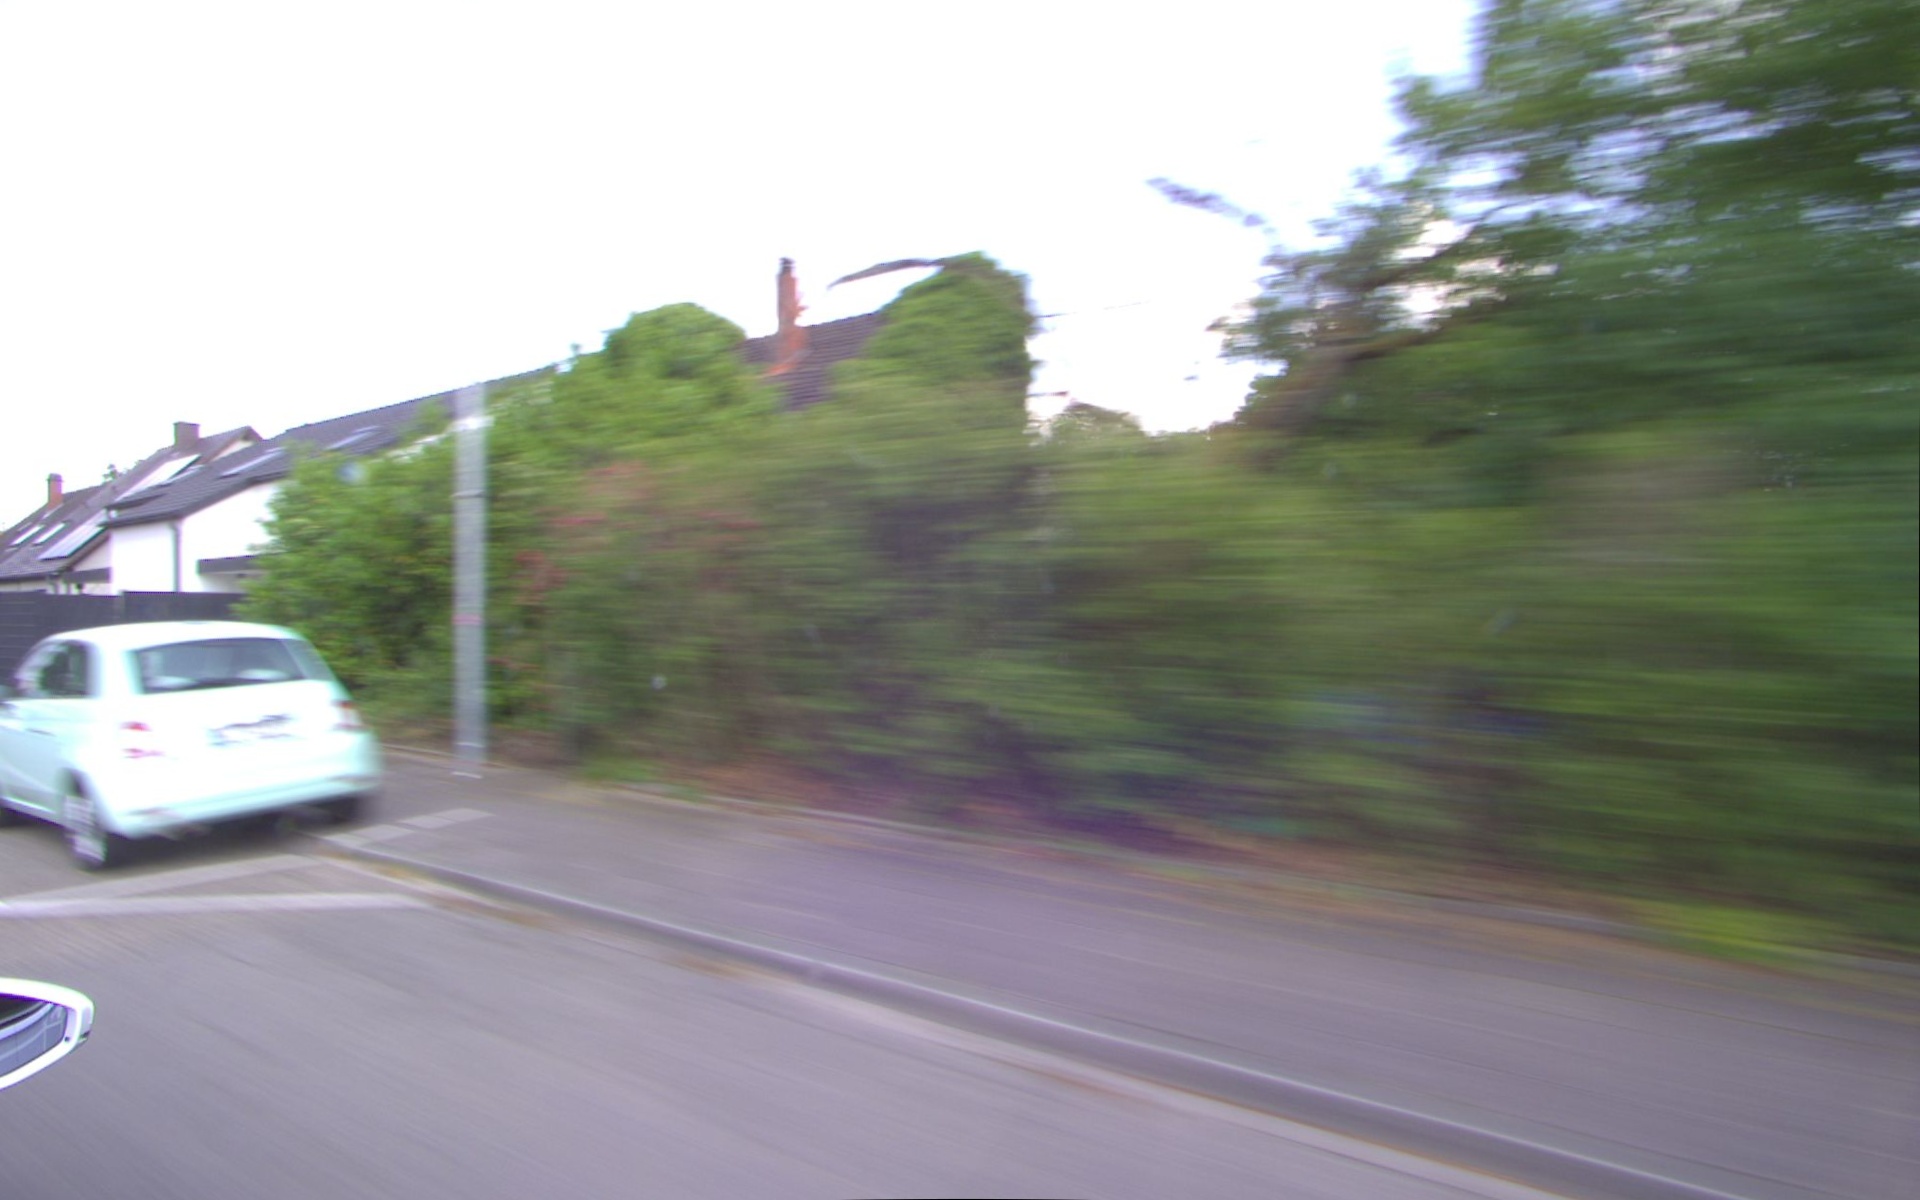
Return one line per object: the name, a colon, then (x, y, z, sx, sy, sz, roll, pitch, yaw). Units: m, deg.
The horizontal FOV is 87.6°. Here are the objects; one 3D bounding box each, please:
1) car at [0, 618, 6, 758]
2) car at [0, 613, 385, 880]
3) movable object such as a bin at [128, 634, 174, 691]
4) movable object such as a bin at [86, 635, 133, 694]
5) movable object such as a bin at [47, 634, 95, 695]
car: (-12.244, 0.947, 11.213, 3.701, 1.505, 1.715, -1, -1, 37)
car: (-6.037, 0.881, 7.490, 3.704, 1.540, 1.577, -1, -1, 34)
movable object such as a bin: (-15.309, 1.178, 18.954, 0.621, 1.052, 0.515, 0, -1, 34)
movable object such as a bin: (-15.655, 1.169, 18.424, 0.621, 1.052, 0.515, 0, -1, 34)
movable object such as a bin: (-15.951, 1.150, 17.963, 0.621, 1.052, 0.515, 0, -1, 34)
